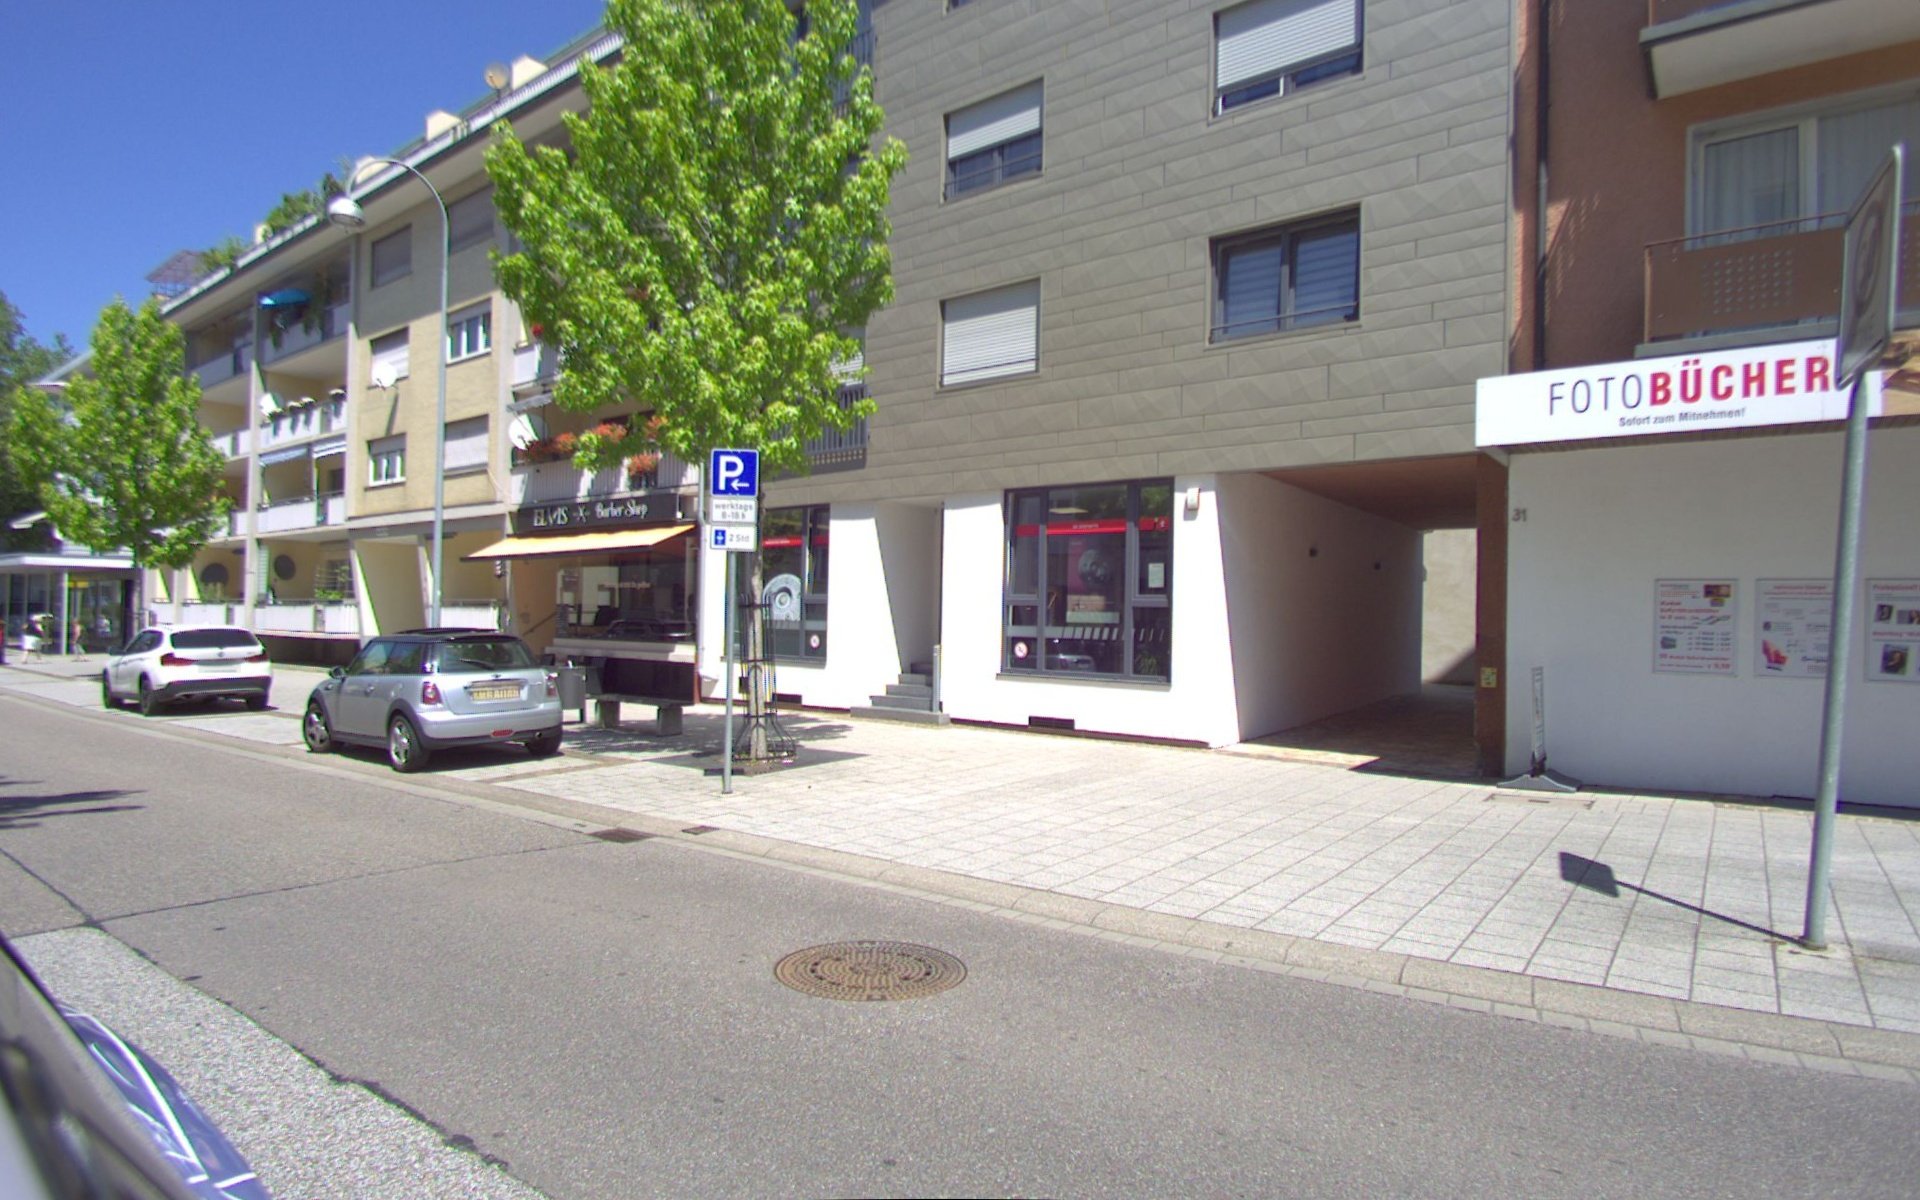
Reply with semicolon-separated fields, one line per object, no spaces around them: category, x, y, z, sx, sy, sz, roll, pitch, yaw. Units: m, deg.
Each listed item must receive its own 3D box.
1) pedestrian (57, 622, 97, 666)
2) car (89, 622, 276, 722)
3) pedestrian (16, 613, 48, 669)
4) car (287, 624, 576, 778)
pedestrian;-30.236;1.503;34.657;0.686;1.510;0.780;1;-2;-7
car;-14.193;1.224;18.386;4.294;1.604;1.678;-1;-3;38
pedestrian;-30.635;1.361;33.408;0.657;1.818;0.687;2;-3;-37
car;-6.080;1.024;11.530;3.544;1.485;1.606;-1;-2;38
